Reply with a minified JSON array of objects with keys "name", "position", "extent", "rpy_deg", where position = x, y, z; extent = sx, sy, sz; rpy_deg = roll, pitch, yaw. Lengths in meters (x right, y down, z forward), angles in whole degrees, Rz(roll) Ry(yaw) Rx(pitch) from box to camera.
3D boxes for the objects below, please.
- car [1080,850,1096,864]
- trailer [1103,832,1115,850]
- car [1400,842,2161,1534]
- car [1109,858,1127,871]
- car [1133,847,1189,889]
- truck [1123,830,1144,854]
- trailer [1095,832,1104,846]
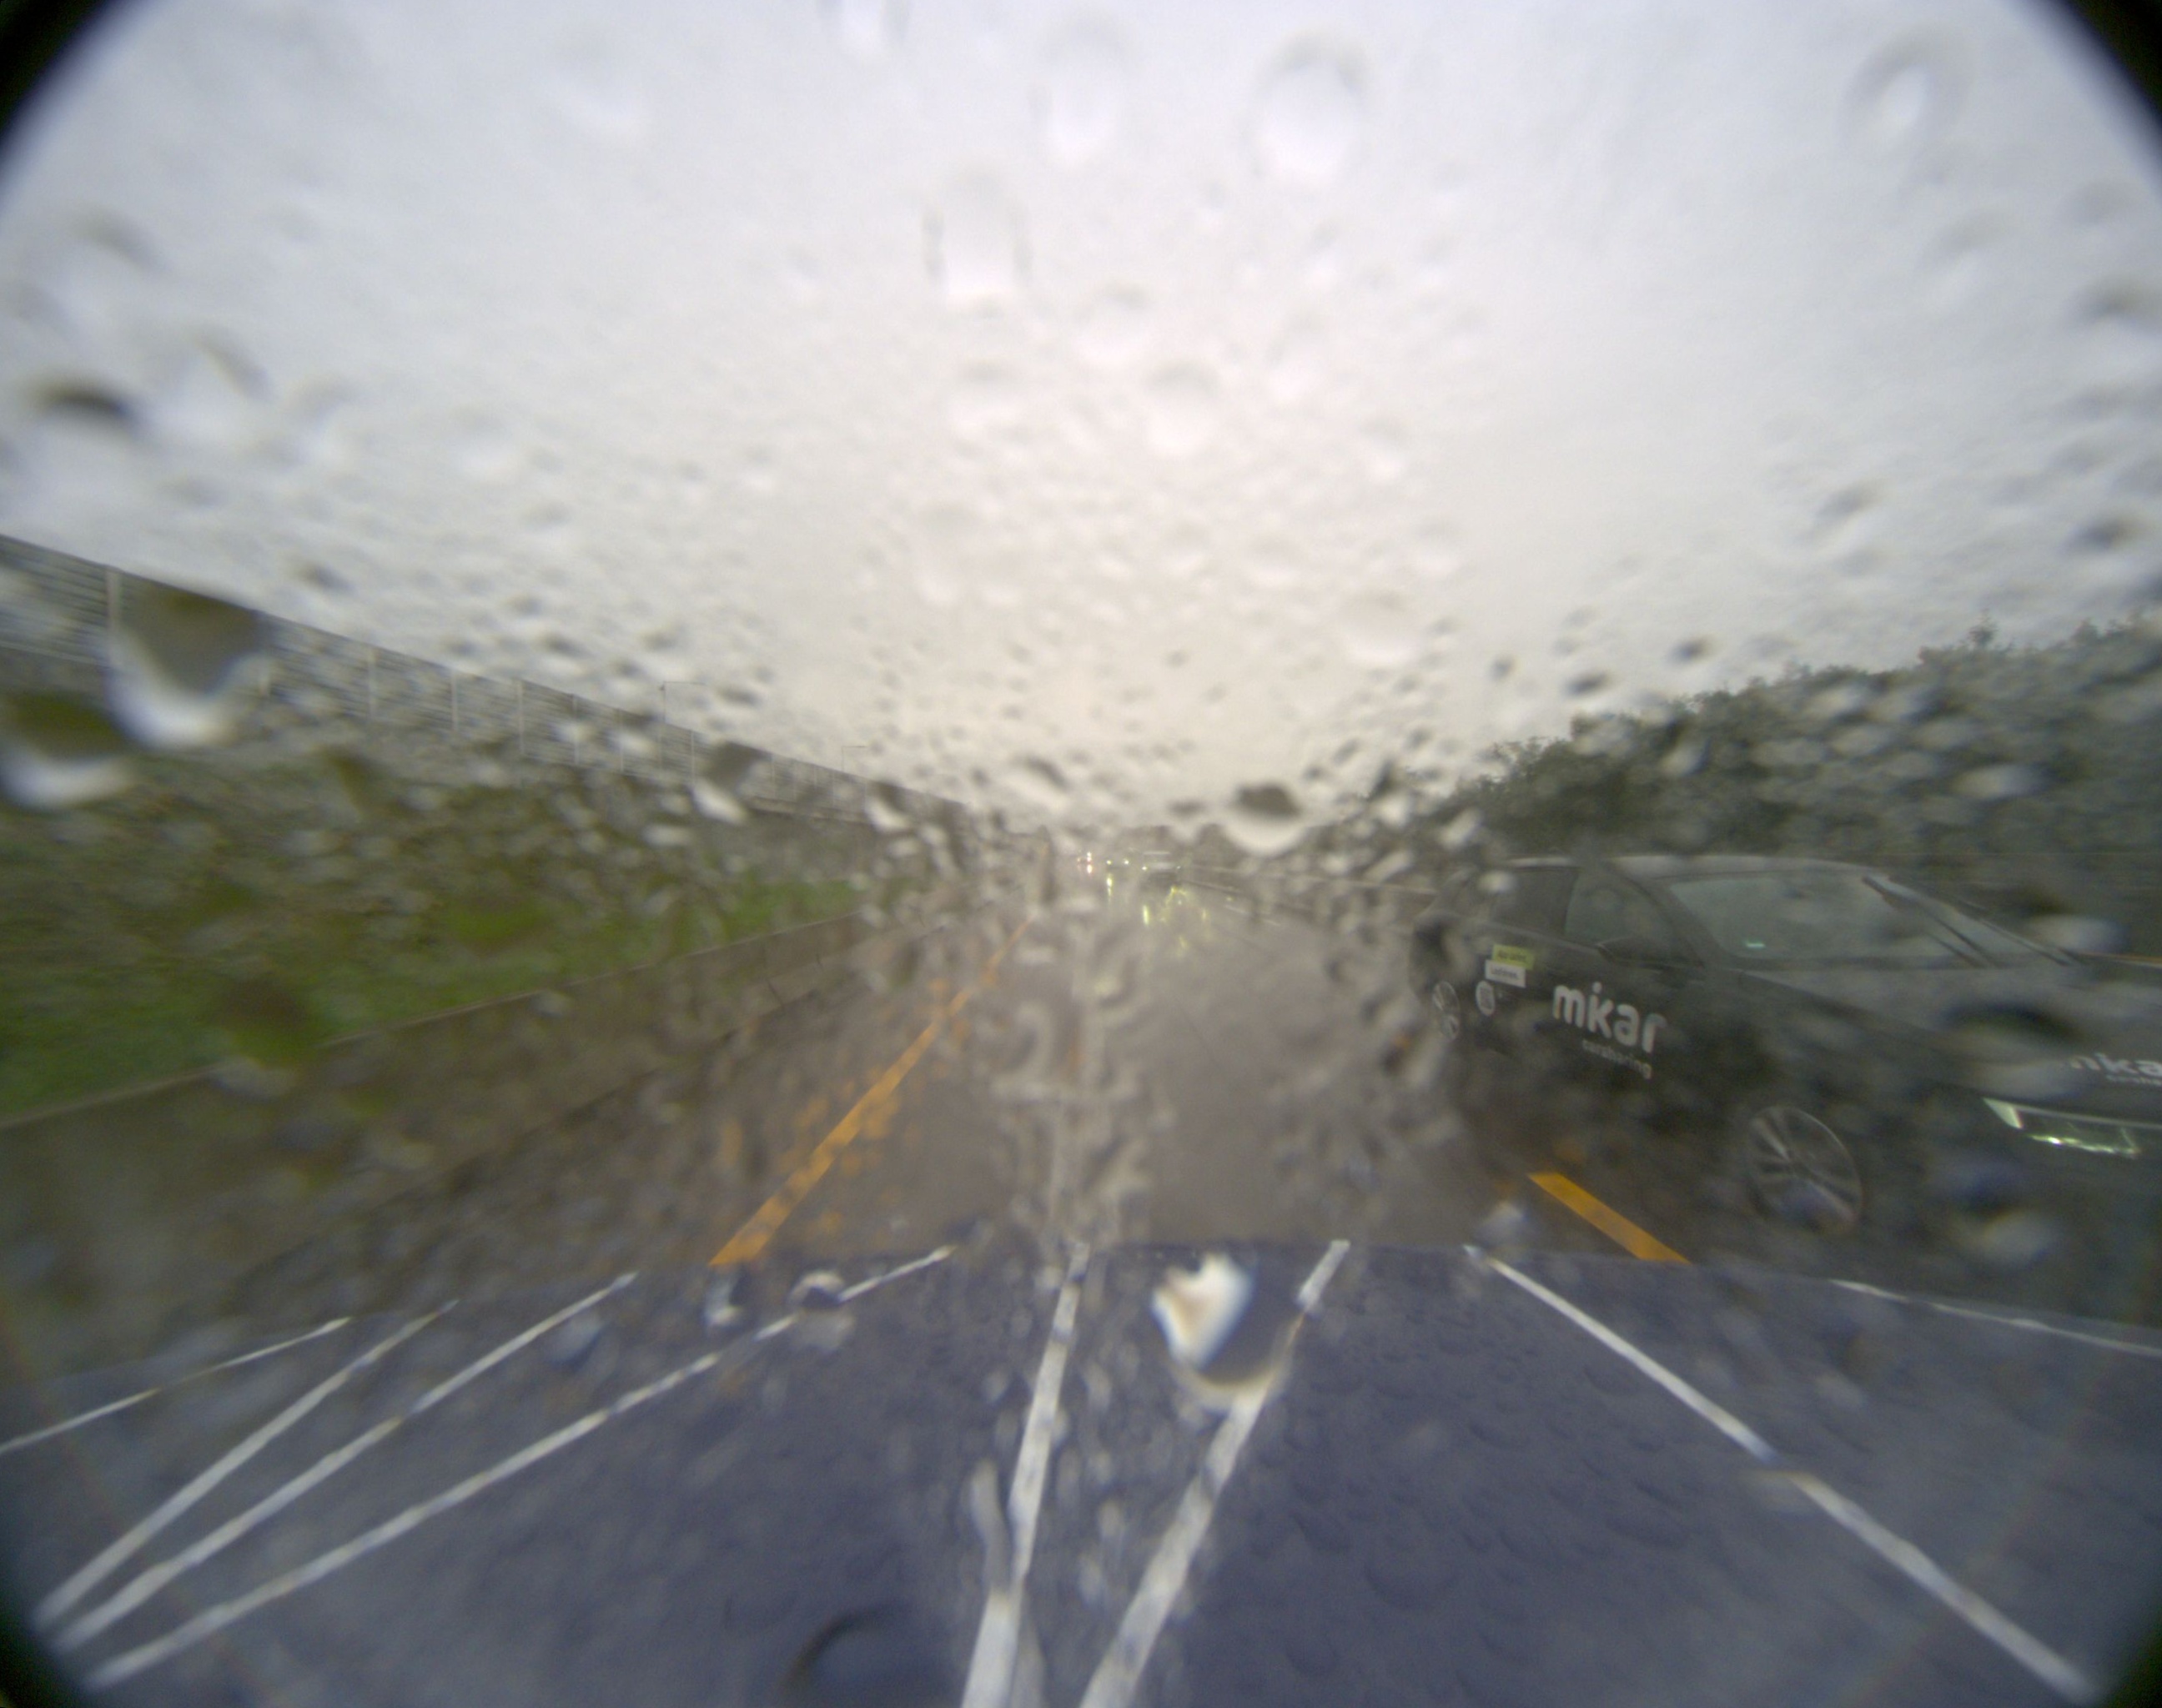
[{"name":"car","position":[0.919,0.418,104.496],"extent":[1.999,1.762,3.998],"rpy_deg":[-2,2,-1]},{"name":"trailer","position":[7.687,-3.620,206.575],"extent":[2.554,4.563,12.005],"rpy_deg":[-2,2,-1]},{"name":"car","position":[3.488,0.739,3.770],"extent":[1.943,1.518,4.796],"rpy_deg":[-2,0,3]},{"name":"car","position":[3.218,0.889,66.306],"extent":[1.335,1.105,3.198],"rpy_deg":[1,0,-1]},{"name":"car","position":[3.575,0.584,34.695],"extent":[1.972,1.671,3.998],"rpy_deg":[-2,2,-2]},{"name":"truck","position":[9.401,-2.191,137.049],"extent":[3.012,4.143,9.827],"rpy_deg":[0,2,0]},{"name":"trailer","position":[6.246,-4.961,254.506],"extent":[2.491,4.418,11.190],"rpy_deg":[-2,2,-1]}]
